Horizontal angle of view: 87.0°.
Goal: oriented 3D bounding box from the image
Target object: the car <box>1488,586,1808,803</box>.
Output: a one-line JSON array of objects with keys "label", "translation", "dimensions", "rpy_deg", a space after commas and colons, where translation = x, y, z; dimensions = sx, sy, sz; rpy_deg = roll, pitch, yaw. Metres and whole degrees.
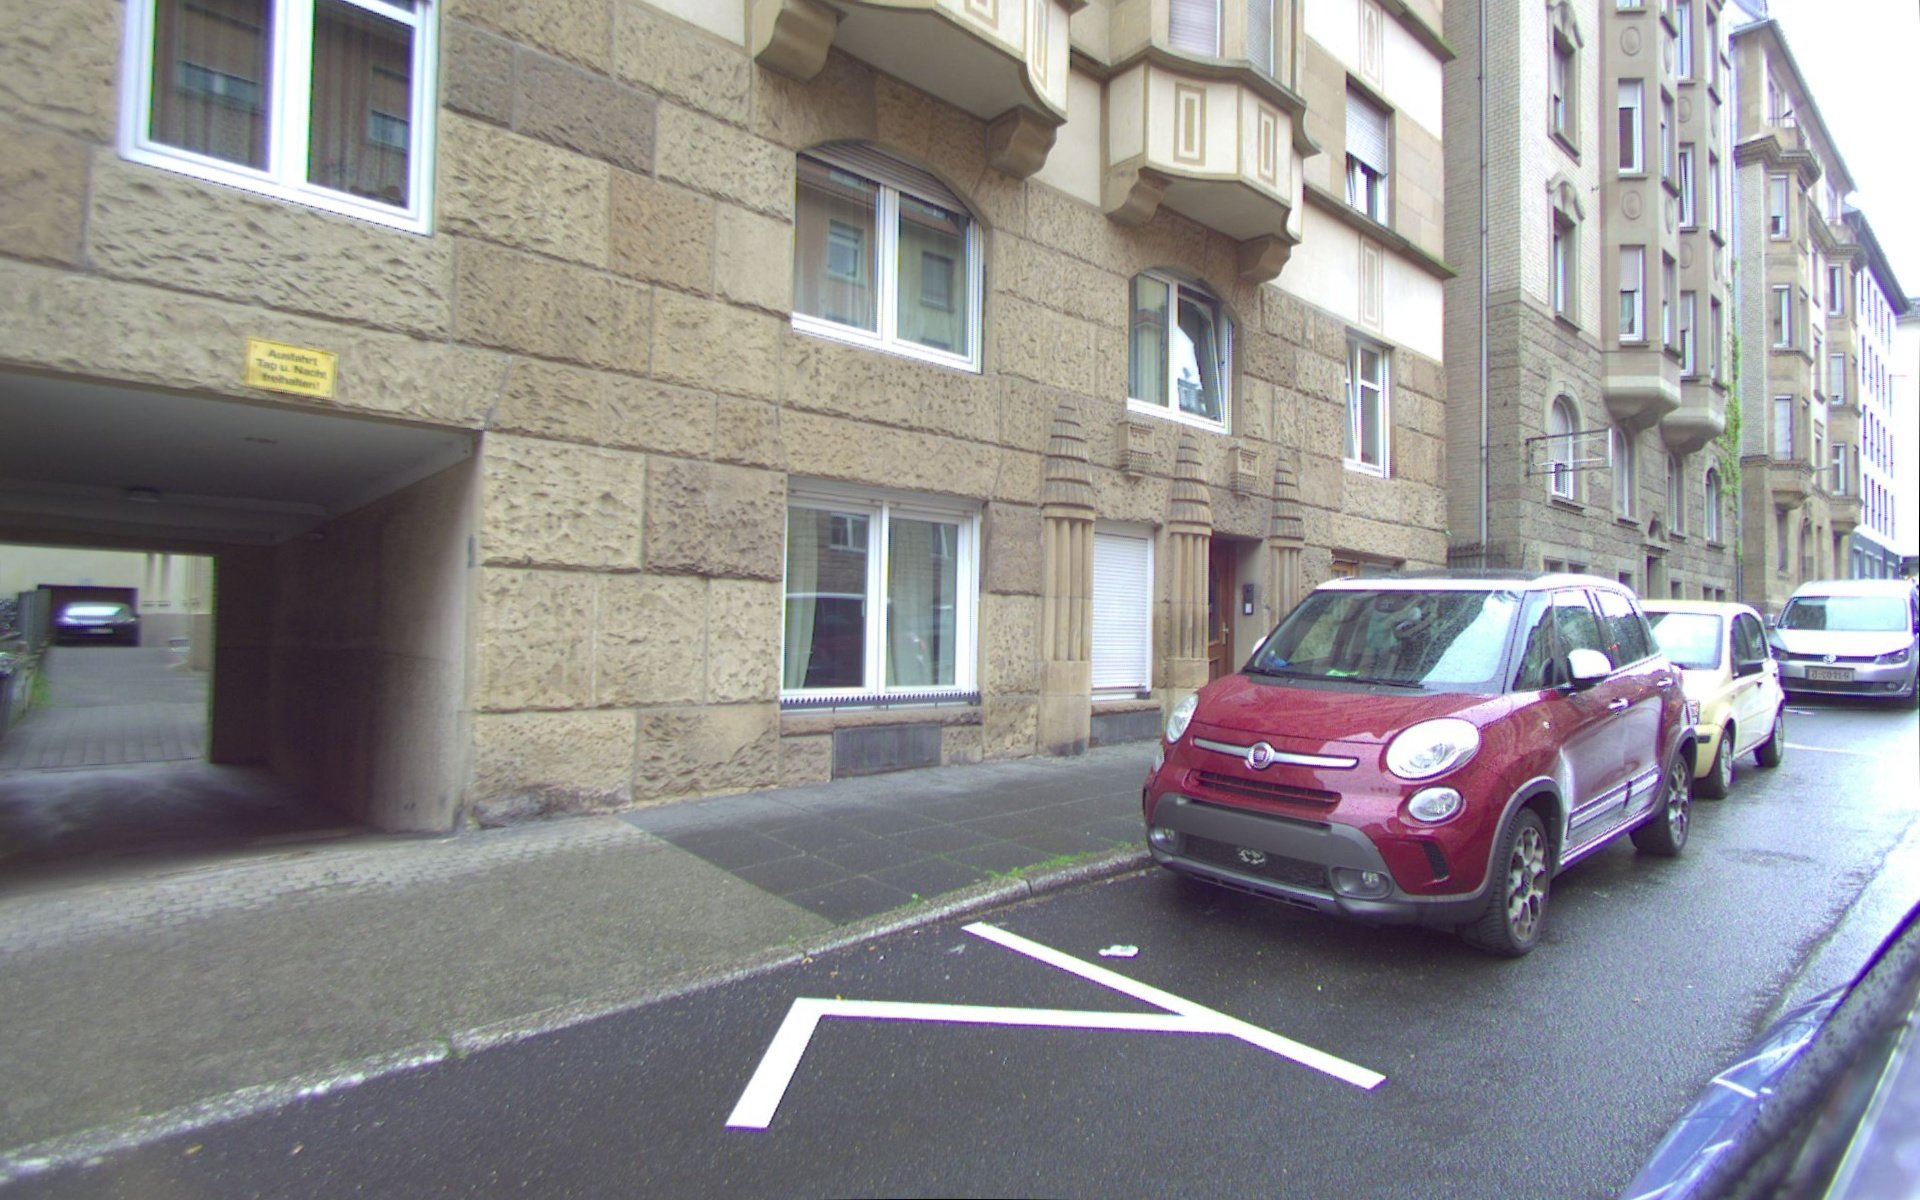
[{"label": "car", "translation": [6.208, 0.677, 8.995], "dimensions": [3.517, 1.549, 1.578], "rpy_deg": [0, -1, -43]}]

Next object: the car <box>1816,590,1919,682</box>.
[{"label": "car", "translation": [17.180, 0.601, 18.503], "dimensions": [3.934, 1.549, 1.994], "rpy_deg": [0, -1, -45]}]

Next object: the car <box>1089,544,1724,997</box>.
[{"label": "car", "translation": [2.687, 0.614, 5.634], "dimensions": [3.932, 1.619, 1.804], "rpy_deg": [0, -1, -42]}]

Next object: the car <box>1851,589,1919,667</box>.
[{"label": "car", "translation": [20.486, 0.548, 21.443], "dimensions": [3.860, 1.549, 1.889], "rpy_deg": [0, -1, -41]}]

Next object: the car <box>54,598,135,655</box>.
[{"label": "car", "translation": [-25.175, 0.739, 29.462], "dimensions": [1.692, 1.541, 4.098], "rpy_deg": [0, -1, -41]}]

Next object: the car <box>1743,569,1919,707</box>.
[{"label": "car", "translation": [13.772, 0.501, 15.512], "dimensions": [4.380, 1.825, 1.966], "rpy_deg": [0, -1, -41]}]

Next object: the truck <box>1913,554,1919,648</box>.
[{"label": "truck", "translation": [29.173, 0.023, 28.880], "dimensions": [6.036, 2.568, 2.234], "rpy_deg": [0, -1, -41]}]
